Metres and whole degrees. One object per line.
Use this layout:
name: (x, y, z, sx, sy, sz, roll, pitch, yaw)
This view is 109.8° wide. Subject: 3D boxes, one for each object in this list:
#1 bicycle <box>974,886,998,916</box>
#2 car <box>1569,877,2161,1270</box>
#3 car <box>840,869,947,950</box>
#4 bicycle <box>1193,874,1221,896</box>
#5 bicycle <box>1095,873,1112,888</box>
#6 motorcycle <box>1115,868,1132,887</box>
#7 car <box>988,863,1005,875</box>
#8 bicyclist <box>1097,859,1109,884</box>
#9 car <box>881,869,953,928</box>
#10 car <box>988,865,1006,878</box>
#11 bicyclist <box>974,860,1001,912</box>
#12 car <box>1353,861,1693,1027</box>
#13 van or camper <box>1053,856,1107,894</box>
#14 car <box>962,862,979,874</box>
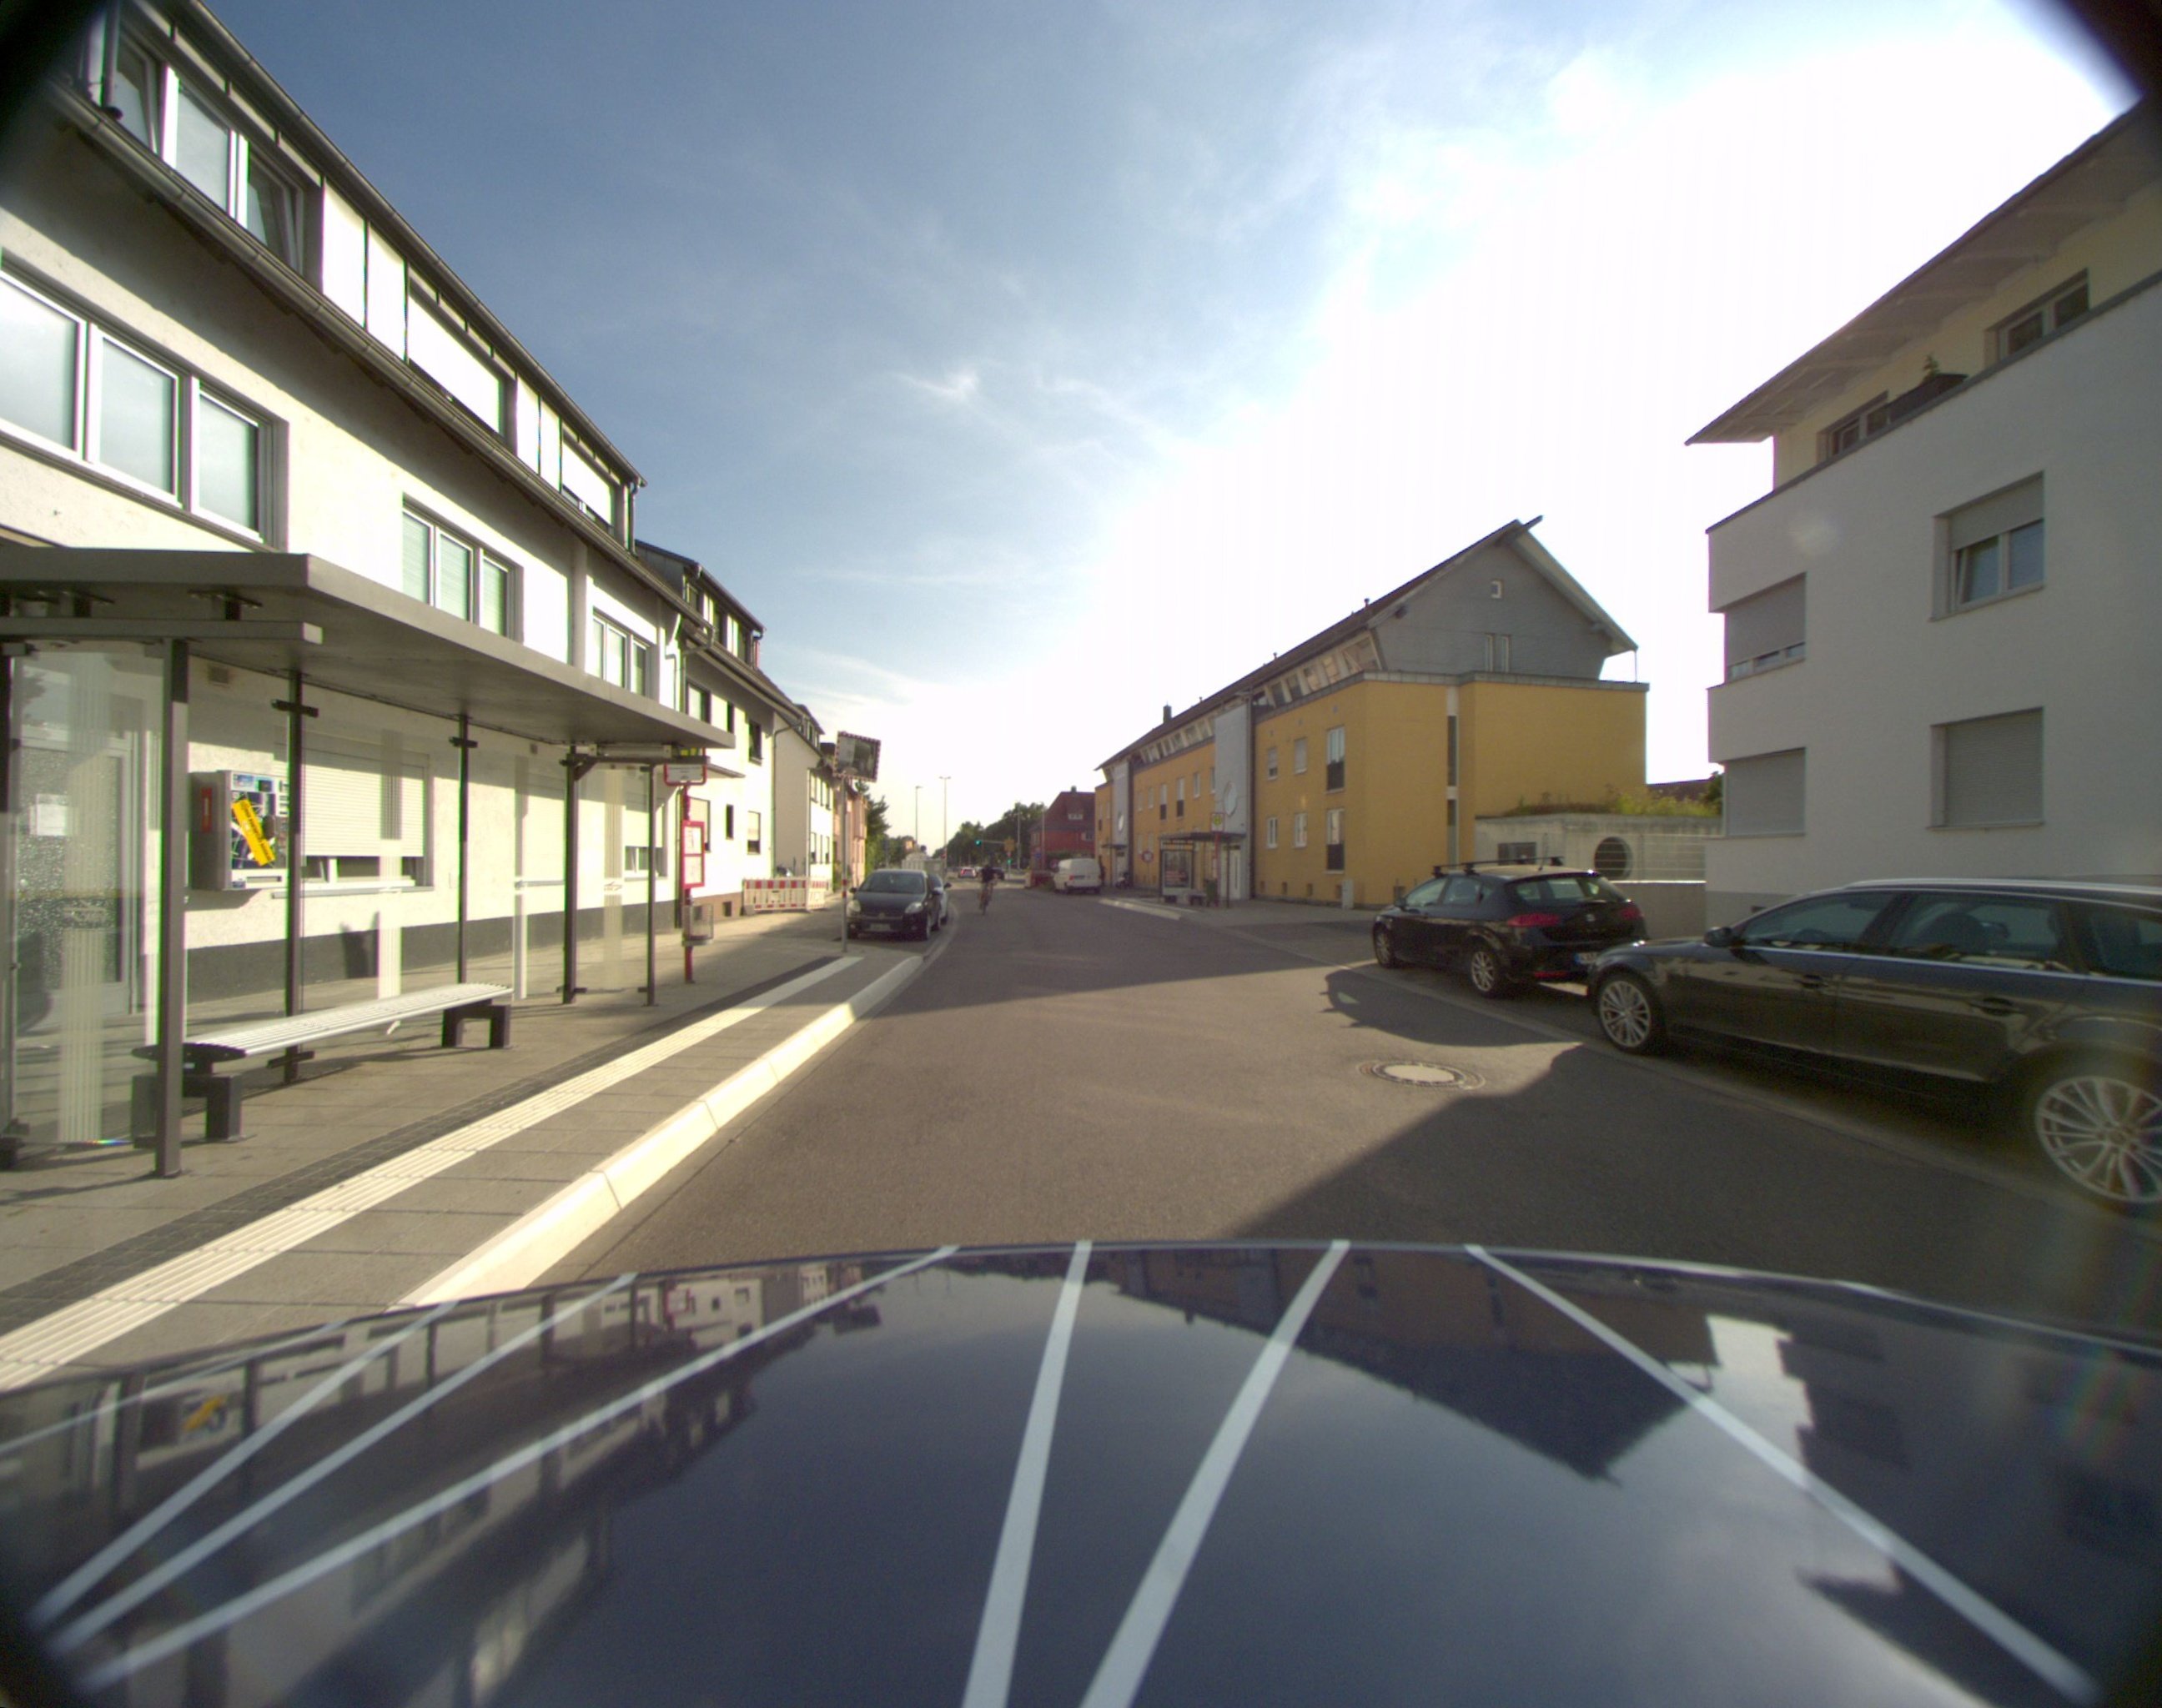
bicycle: (-3.104, 1.526, 24.886, 0.680, 0.849, 2.026, 0, 0, -5)
car: (5.202, 0.942, 4.402, 1.732, 1.469, 4.502, -2, 0, -2)
car: (-3.972, 1.108, 16.640, 1.612, 1.412, 3.918, 4, -1, -5)
bicycle: (6.046, 1.453, 36.456, 0.718, 0.991, 1.905, -1, 0, -10)
bicycle: (1.470, 1.737, 50.197, 0.693, 0.907, 1.872, 0, 0, -11)
motorcycle: (2.751, 1.537, 49.472, 0.584, 1.176, 1.875, -1, 0, -15)
car: (-11.168, 1.954, 100.208, 1.796, 1.433, 3.996, -1, 0, -11)
bicyclist: (1.467, 1.165, 50.211, 0.676, 1.659, 0.665, 0, 0, -12)
car: (-4.604, 1.197, 21.799, 1.721, 1.389, 4.330, 3, -1, -9)
car: (-10.030, 2.102, 90.283, 1.796, 1.433, 3.996, -1, 0, -11)
bicyclist: (-3.079, 1.027, 25.033, 0.845, 1.679, 0.877, 0, 0, -5)
car: (5.268, 0.928, 9.839, 1.780, 1.612, 4.177, -2, 0, -3)
van or camper: (-0.131, 1.160, 43.247, 2.001, 1.991, 4.916, -1, 0, -12)
car: (-14.492, 1.846, 99.318, 1.984, 1.520, 3.996, 0, 0, -11)
